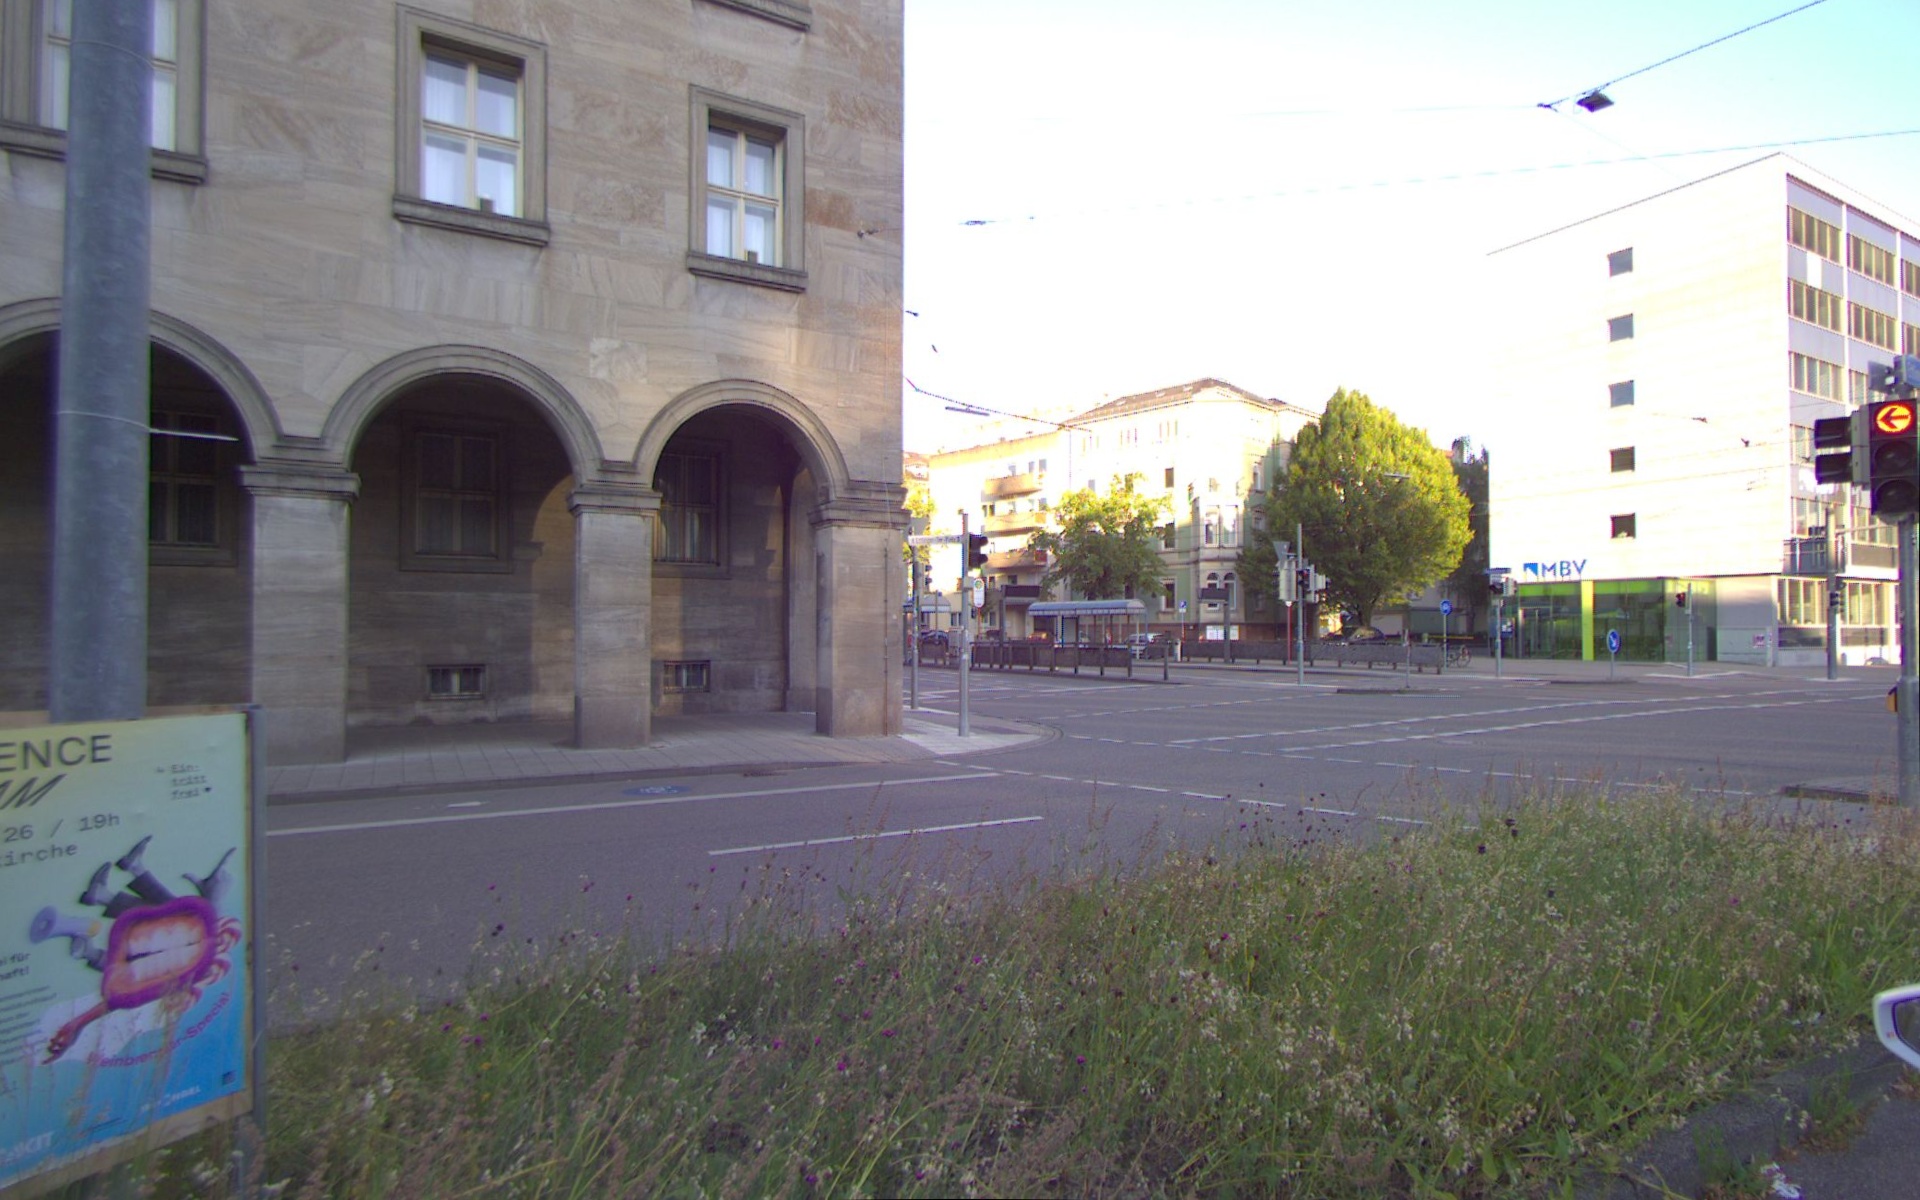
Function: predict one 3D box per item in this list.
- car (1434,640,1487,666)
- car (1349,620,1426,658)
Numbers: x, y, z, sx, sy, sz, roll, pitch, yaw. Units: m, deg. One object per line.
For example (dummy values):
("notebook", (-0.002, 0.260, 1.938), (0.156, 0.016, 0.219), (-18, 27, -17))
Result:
("car", (21.734, 2.276, 43.598), (2.492, 1.088, 0.849), (1, -2, -31))
("car", (23.694, 2.165, 55.629), (3.954, 2.040, 1.984), (1, -2, -31))
